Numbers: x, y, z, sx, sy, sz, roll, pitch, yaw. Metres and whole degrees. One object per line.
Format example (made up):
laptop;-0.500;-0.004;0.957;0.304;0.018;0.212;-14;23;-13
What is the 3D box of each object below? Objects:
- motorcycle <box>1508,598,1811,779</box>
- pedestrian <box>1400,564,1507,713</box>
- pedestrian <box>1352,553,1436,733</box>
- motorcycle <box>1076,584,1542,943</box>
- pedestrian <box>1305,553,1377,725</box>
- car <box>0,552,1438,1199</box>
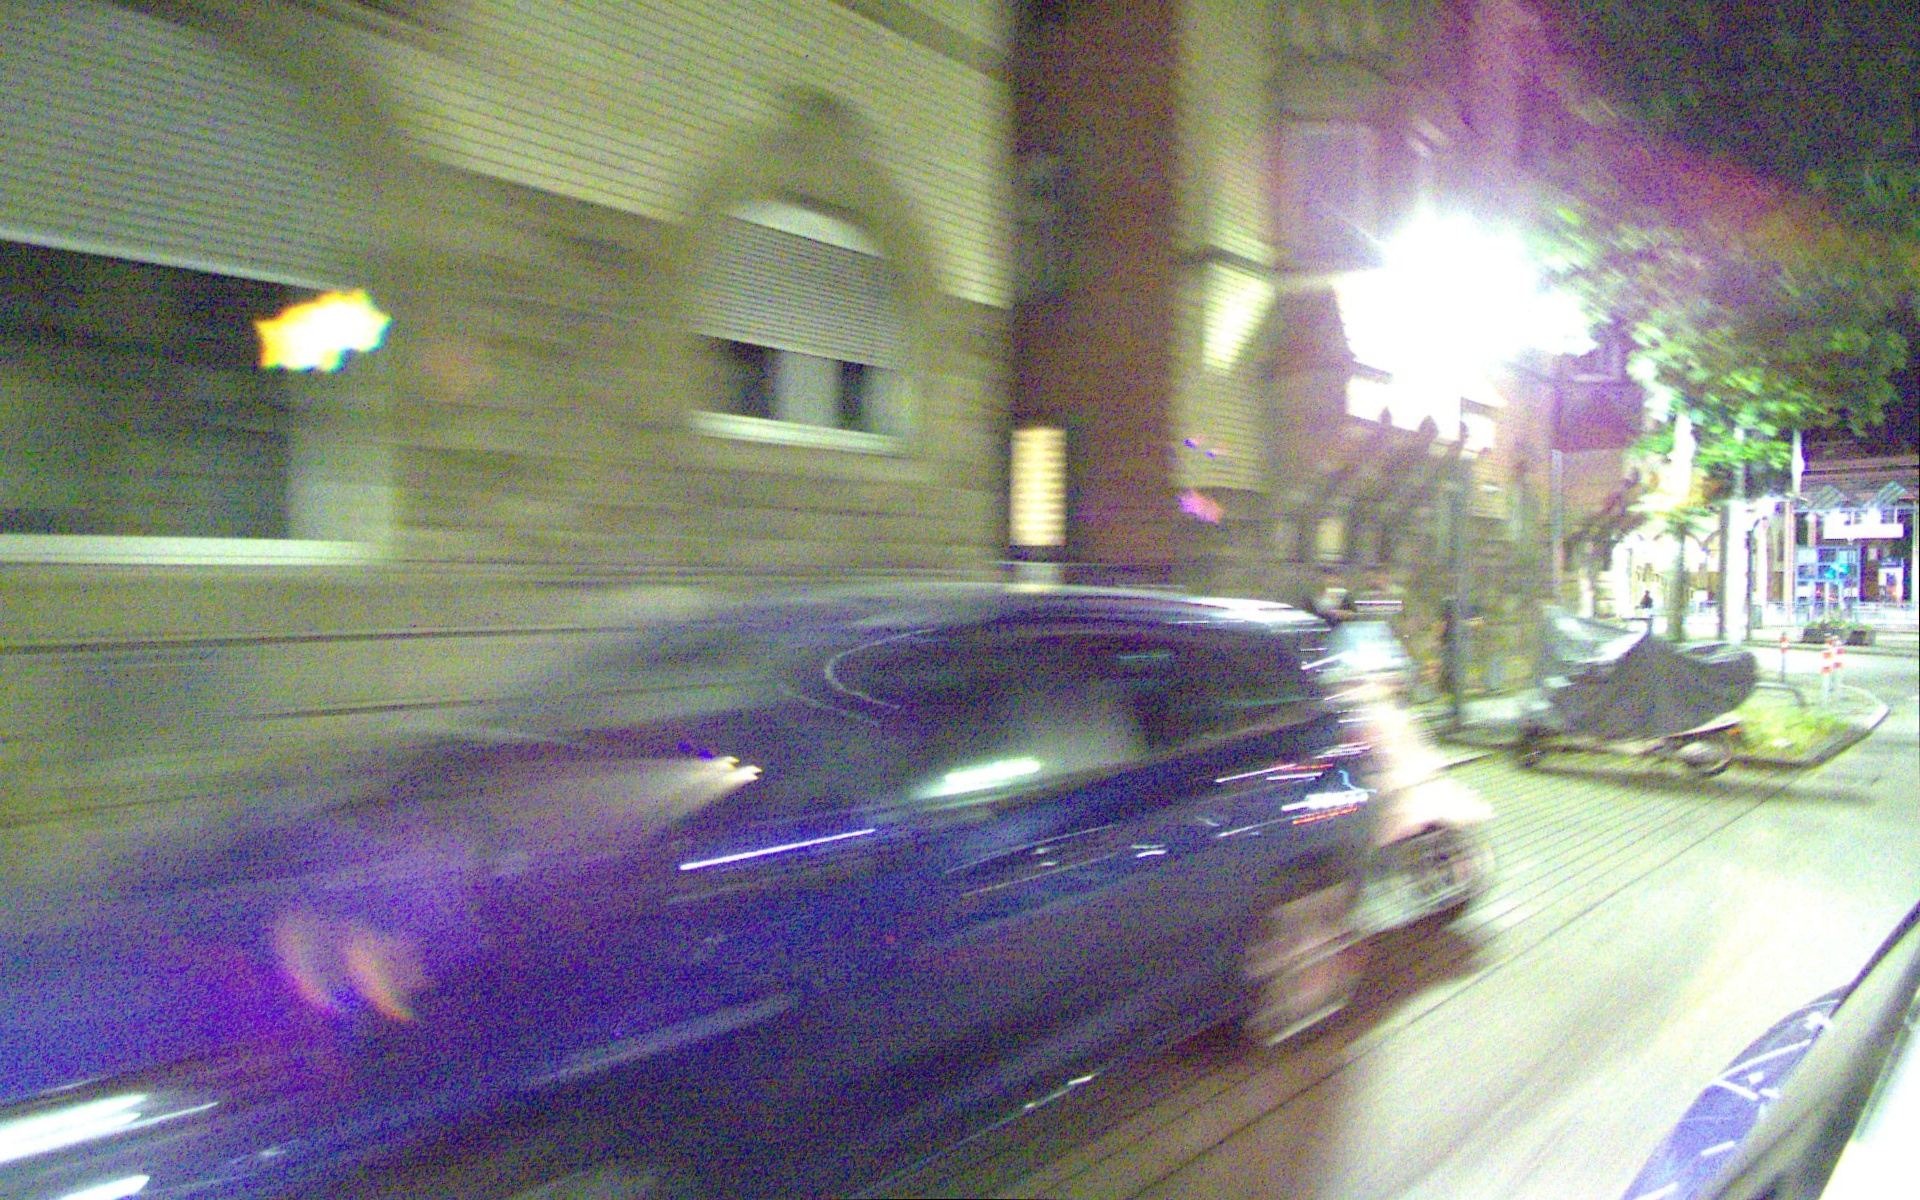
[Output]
motorcycle;5.775;0.689;8.488;1.915;1.370;0.760;1;1;14
pedestrian;5.783;0.424;11.855;0.949;1.652;0.808;0;0;-41
pedestrian;4.350;0.406;10.146;0.692;1.730;0.508;0;1;-41
motorcycle;1.720;0.668;5.204;2.050;1.423;0.911;3;2;40
pedestrian;3.966;0.386;10.545;0.561;1.730;0.477;0;1;-41
car;-0.355;0.673;3.037;4.392;1.519;1.734;-1;1;-43
